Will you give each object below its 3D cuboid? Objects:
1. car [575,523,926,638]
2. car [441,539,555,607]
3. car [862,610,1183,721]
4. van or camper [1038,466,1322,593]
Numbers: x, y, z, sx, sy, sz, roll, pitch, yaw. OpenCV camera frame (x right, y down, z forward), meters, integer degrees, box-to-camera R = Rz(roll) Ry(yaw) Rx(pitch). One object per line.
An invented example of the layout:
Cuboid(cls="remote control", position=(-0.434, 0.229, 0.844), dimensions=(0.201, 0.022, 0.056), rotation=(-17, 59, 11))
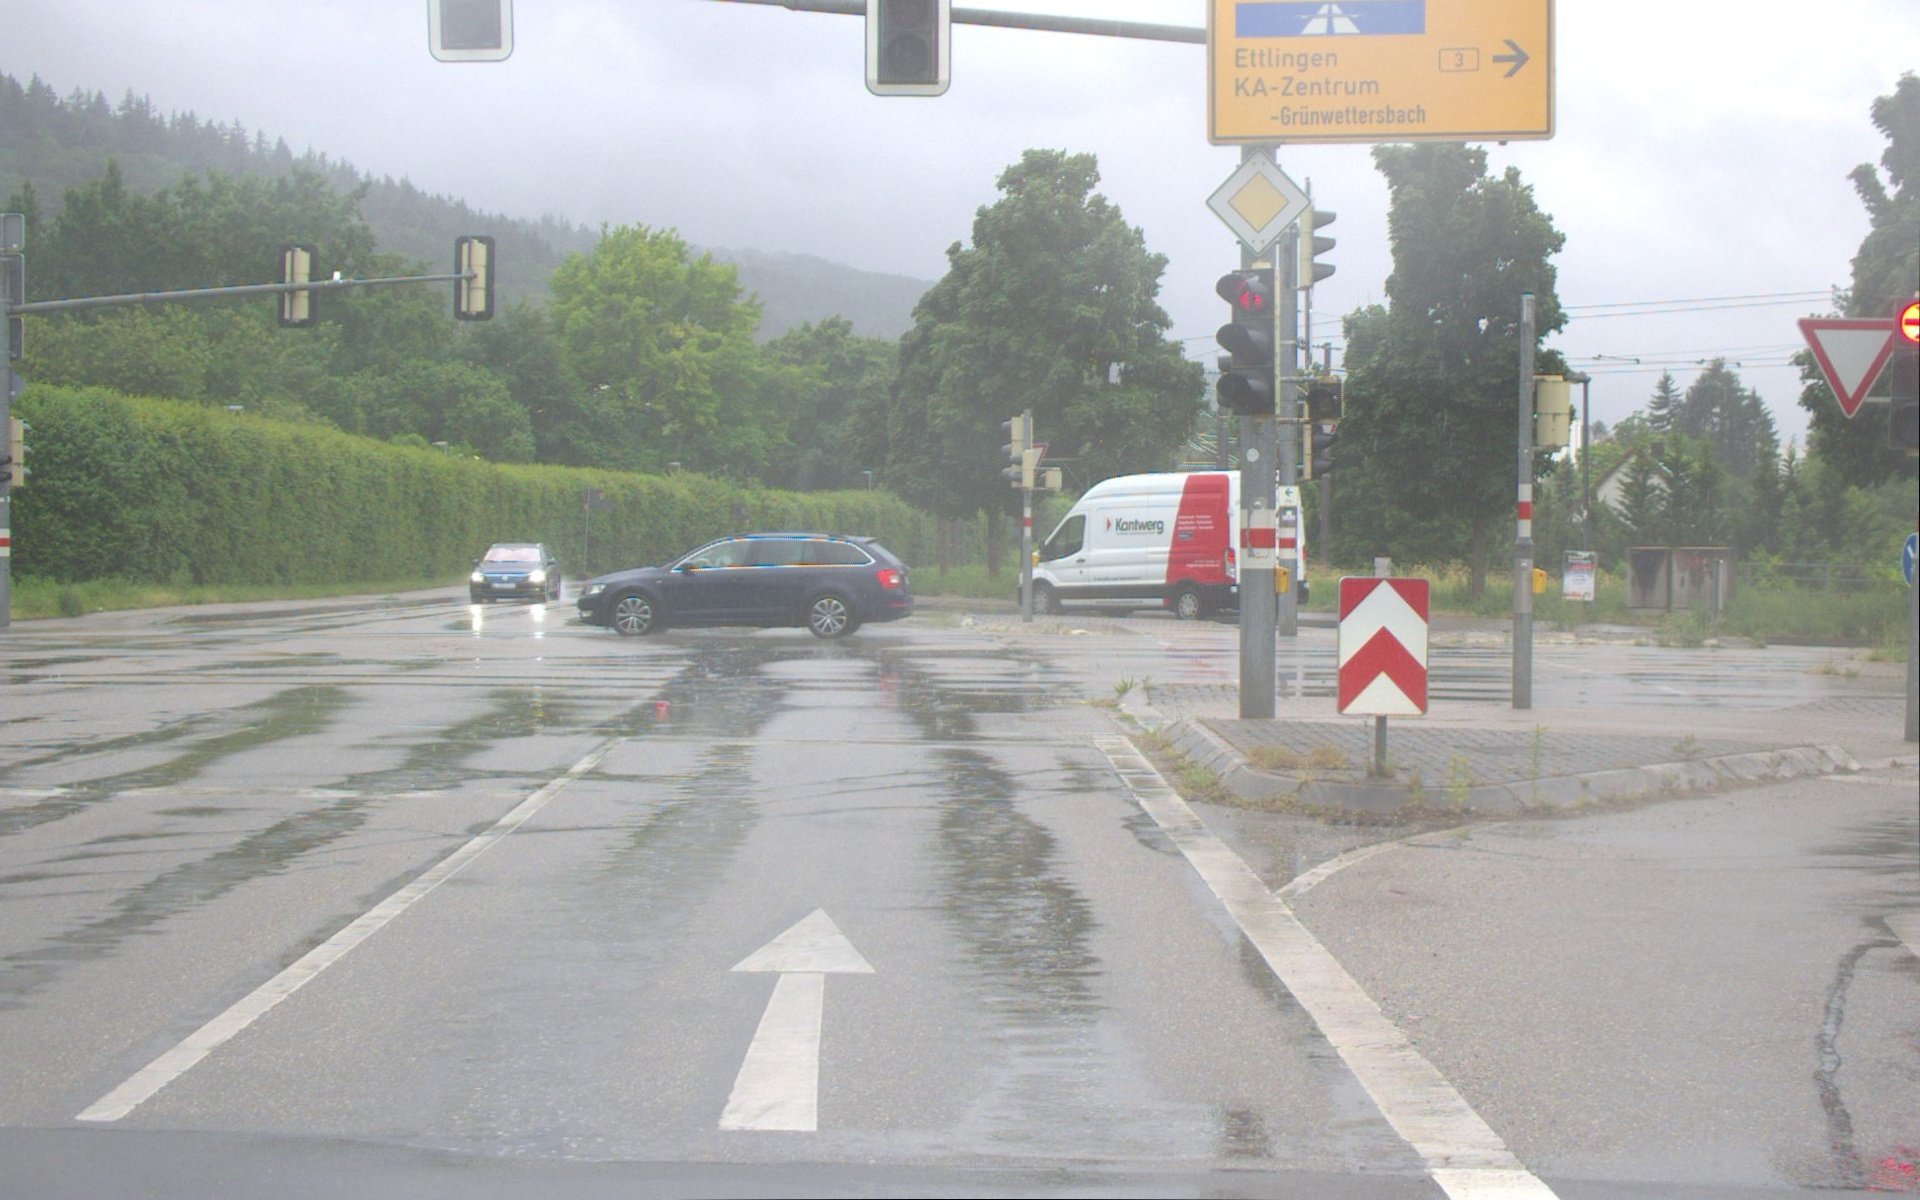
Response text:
Cuboid(cls="car", position=(-2.857, -0.289, 47.574), dimensions=(4.670, 1.548, 1.822), rotation=(0, 1, 3))
Cuboid(cls="car", position=(-11.285, -0.683, 84.263), dimensions=(1.879, 1.568, 4.644), rotation=(-1, 1, 3))
Cuboid(cls="car", position=(0.947, 0.950, 50.927), dimensions=(4.670, 1.548, 1.822), rotation=(0, 1, 3))
Cuboid(cls="van or camper", position=(3.866, -1.280, 61.113), dimensions=(2.154, 2.161, 4.862), rotation=(-1, 2, -43))
